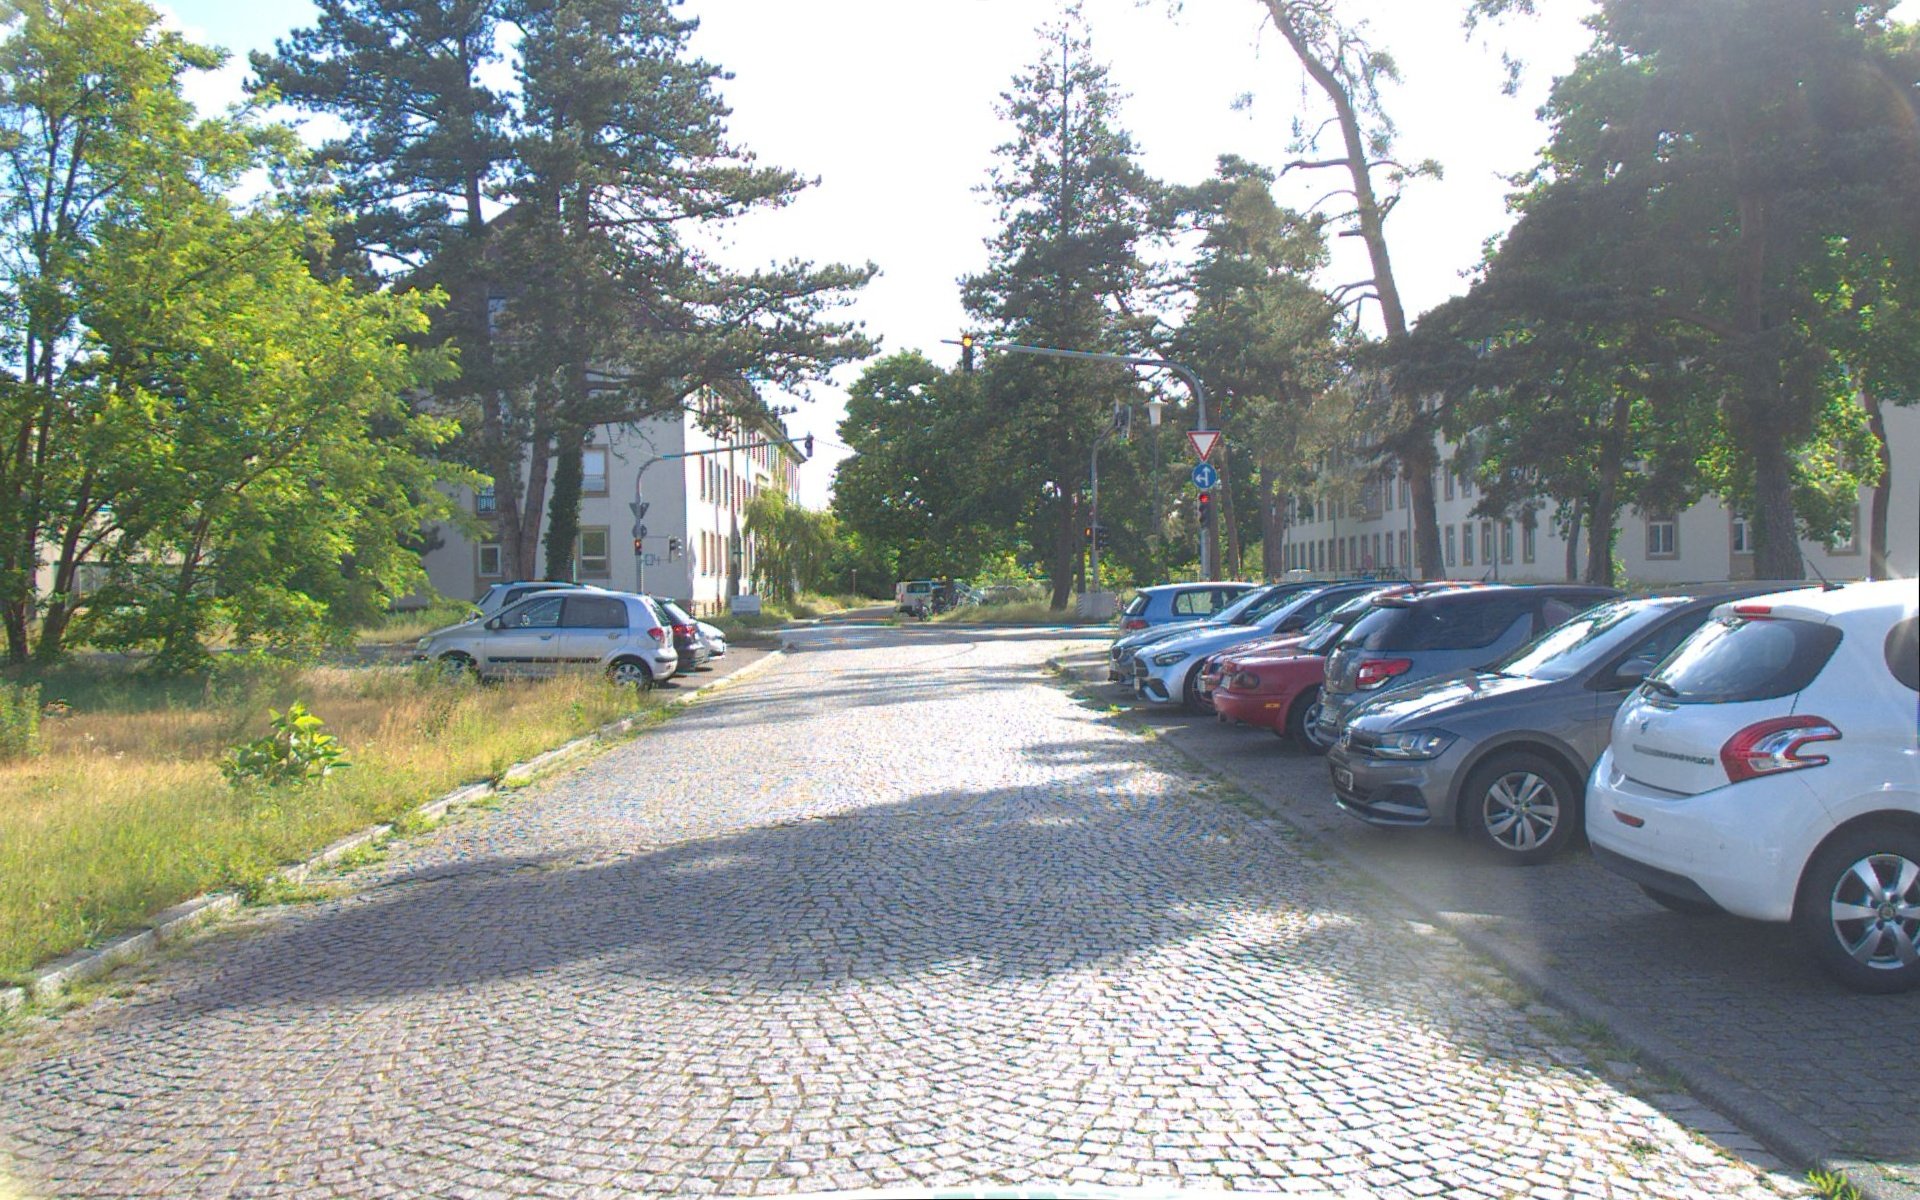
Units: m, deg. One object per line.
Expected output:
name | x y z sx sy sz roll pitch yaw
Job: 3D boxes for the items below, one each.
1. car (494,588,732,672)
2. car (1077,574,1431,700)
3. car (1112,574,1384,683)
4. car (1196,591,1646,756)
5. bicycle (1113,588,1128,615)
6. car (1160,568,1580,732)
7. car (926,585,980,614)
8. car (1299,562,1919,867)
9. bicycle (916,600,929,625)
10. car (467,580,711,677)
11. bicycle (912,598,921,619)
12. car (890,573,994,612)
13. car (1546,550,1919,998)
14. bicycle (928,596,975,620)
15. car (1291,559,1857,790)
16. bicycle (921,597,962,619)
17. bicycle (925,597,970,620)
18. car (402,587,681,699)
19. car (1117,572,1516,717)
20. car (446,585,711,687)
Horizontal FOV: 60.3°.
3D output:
car | -6.618 0.560 31.878 4.248 1.494 1.829 1 1 -5
car | 3.916 0.474 22.507 4.467 1.440 1.636 -3 1 -1
car | 4.329 0.407 25.216 3.803 1.440 1.636 -3 1 -1
car | 4.154 0.639 15.313 3.632 1.244 1.746 -3 1 -1
bicycle | 6.025 0.065 62.116 0.295 0.977 1.584 1 0 -5
car | 4.295 0.497 17.716 4.044 1.474 1.636 -3 1 -1
car | -0.394 -0.028 88.527 2.728 1.492 1.669 1 0 -6
car | 4.050 0.597 9.839 3.632 1.474 1.856 -3 1 -1
bicycle | -1.613 0.524 70.415 0.458 1.028 1.584 1 0 -5
car | -6.564 0.487 29.658 4.000 1.621 1.884 1 1 -5
bicycle | -2.219 0.415 83.657 0.409 1.028 1.483 1 0 -1
car | -1.023 -0.413 92.152 5.439 2.049 1.989 1 0 -20
car | 4.590 0.558 6.886 3.632 1.561 1.761 -3 1 -1
bicycle | -0.382 0.375 74.049 2.070 1.028 0.619 1 0 -9
car | 4.578 0.516 12.721 3.632 1.474 1.816 -3 1 -2
bicycle | -0.873 0.381 77.506 1.804 1.028 0.634 1 0 -9
bicycle | -0.585 0.378 75.758 1.967 1.028 0.631 1 0 -9
car | -6.005 0.601 24.040 3.672 1.513 1.644 1 1 -5
car | 4.168 0.494 19.795 4.342 1.440 1.780 -3 1 -1
car | -6.072 0.558 26.709 3.908 1.506 1.802 1 1 -5
